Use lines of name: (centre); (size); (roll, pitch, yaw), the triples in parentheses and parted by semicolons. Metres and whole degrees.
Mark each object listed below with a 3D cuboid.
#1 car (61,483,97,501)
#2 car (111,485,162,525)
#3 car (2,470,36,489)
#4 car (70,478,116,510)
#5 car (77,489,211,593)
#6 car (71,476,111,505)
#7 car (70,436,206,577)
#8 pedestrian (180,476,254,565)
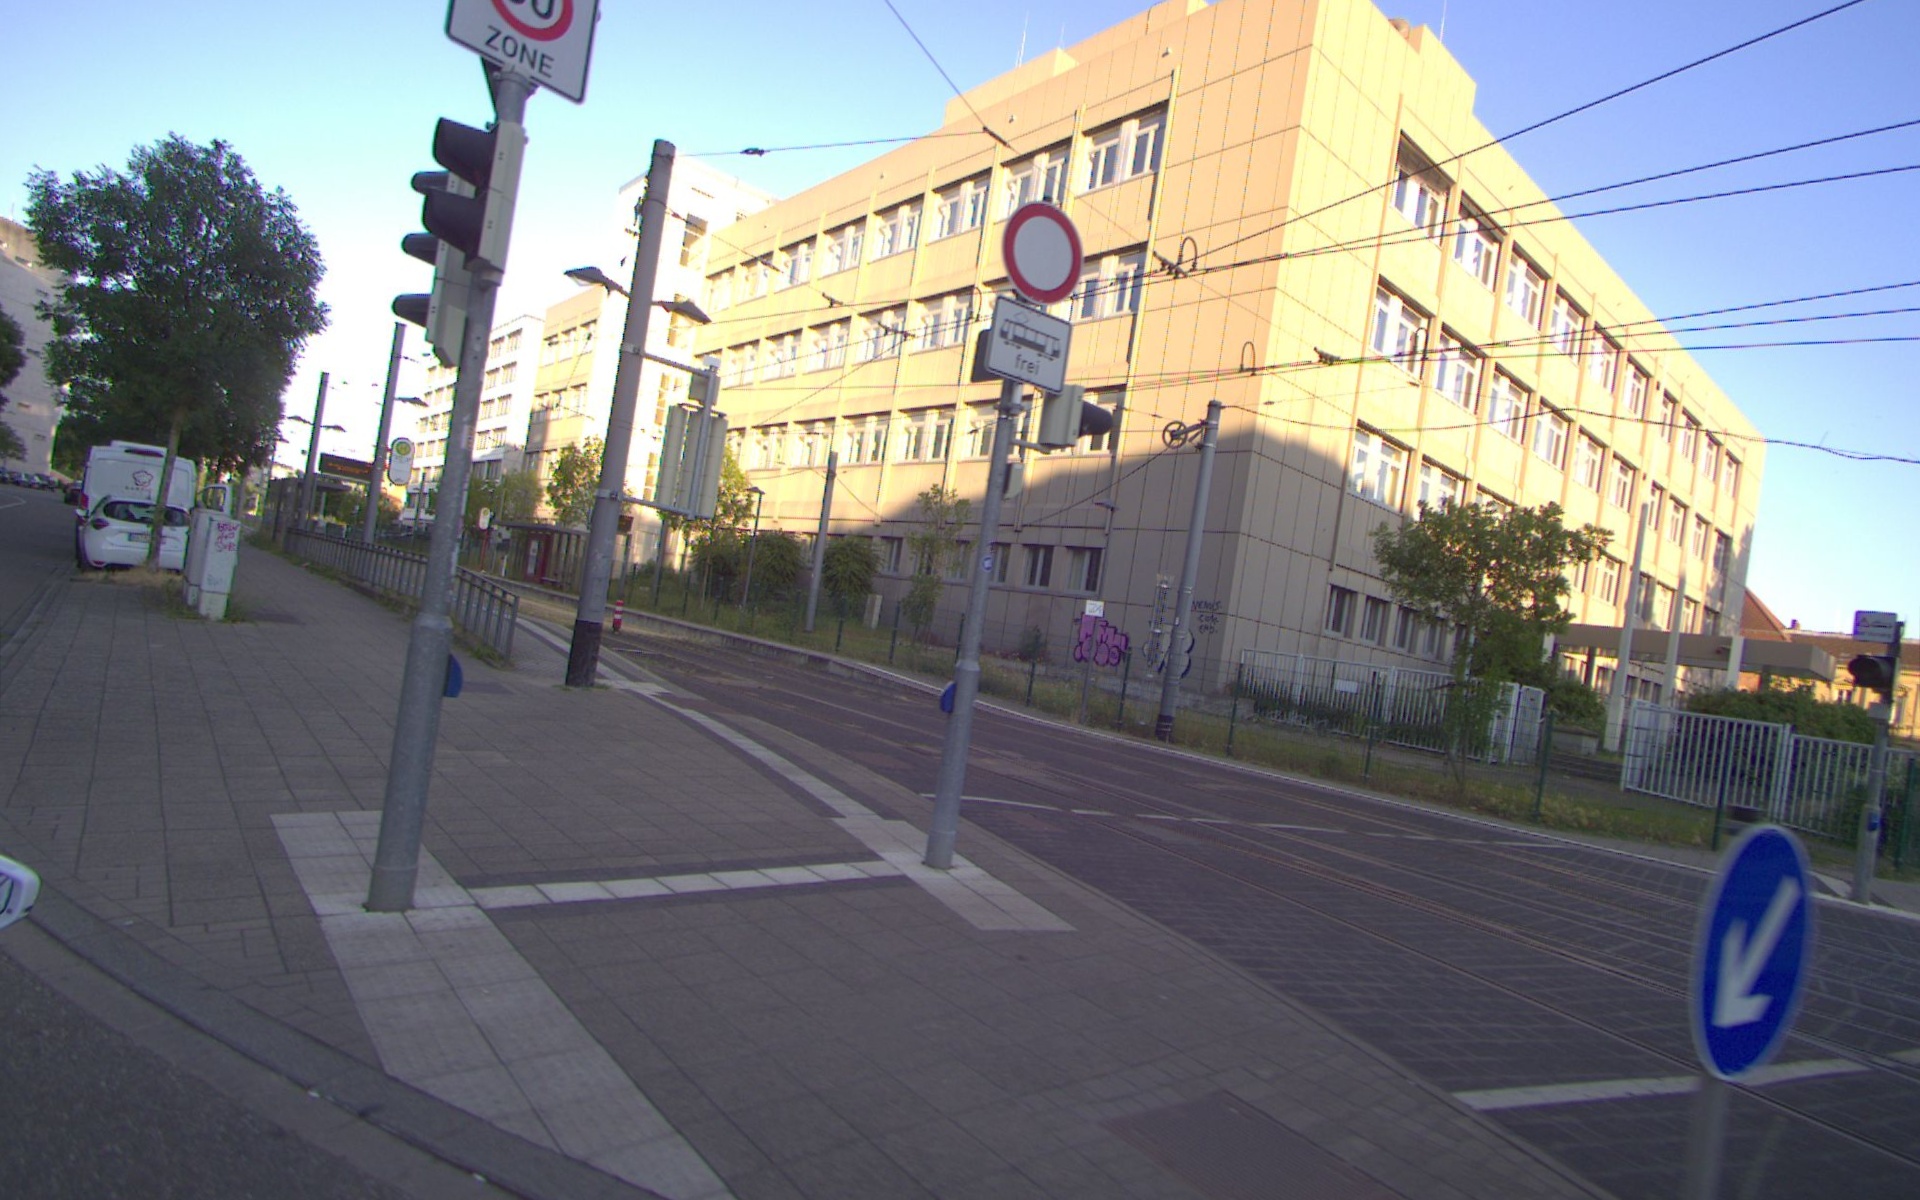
car: (-110.419, -13.518, 126.152); (1.929, 1.397, 4.375); (13, -3, -23)
car: (-40.056, -4.637, 49.012); (1.700, 1.599, 4.430); (8, 0, -39)
car: (-100.521, -12.806, 107.515); (1.715, 1.472, 4.232); (13, -3, -33)
car: (-51.686, -6.340, 59.941); (1.784, 1.468, 4.459); (11, -2, -43)
car: (-15.771, -1.175, 19.397); (1.741, 1.603, 3.965); (6, 1, -41)
car: (-55.531, -7.016, 64.270); (1.673, 1.468, 4.136); (11, -2, -43)
car: (-19.117, -2.169, 23.327); (2.043, 2.691, 5.370); (6, 1, -41)
pedestrian: (-18.790, -1.994, 25.453); (0.793, 2.036, 0.980); (9, -1, 5)
